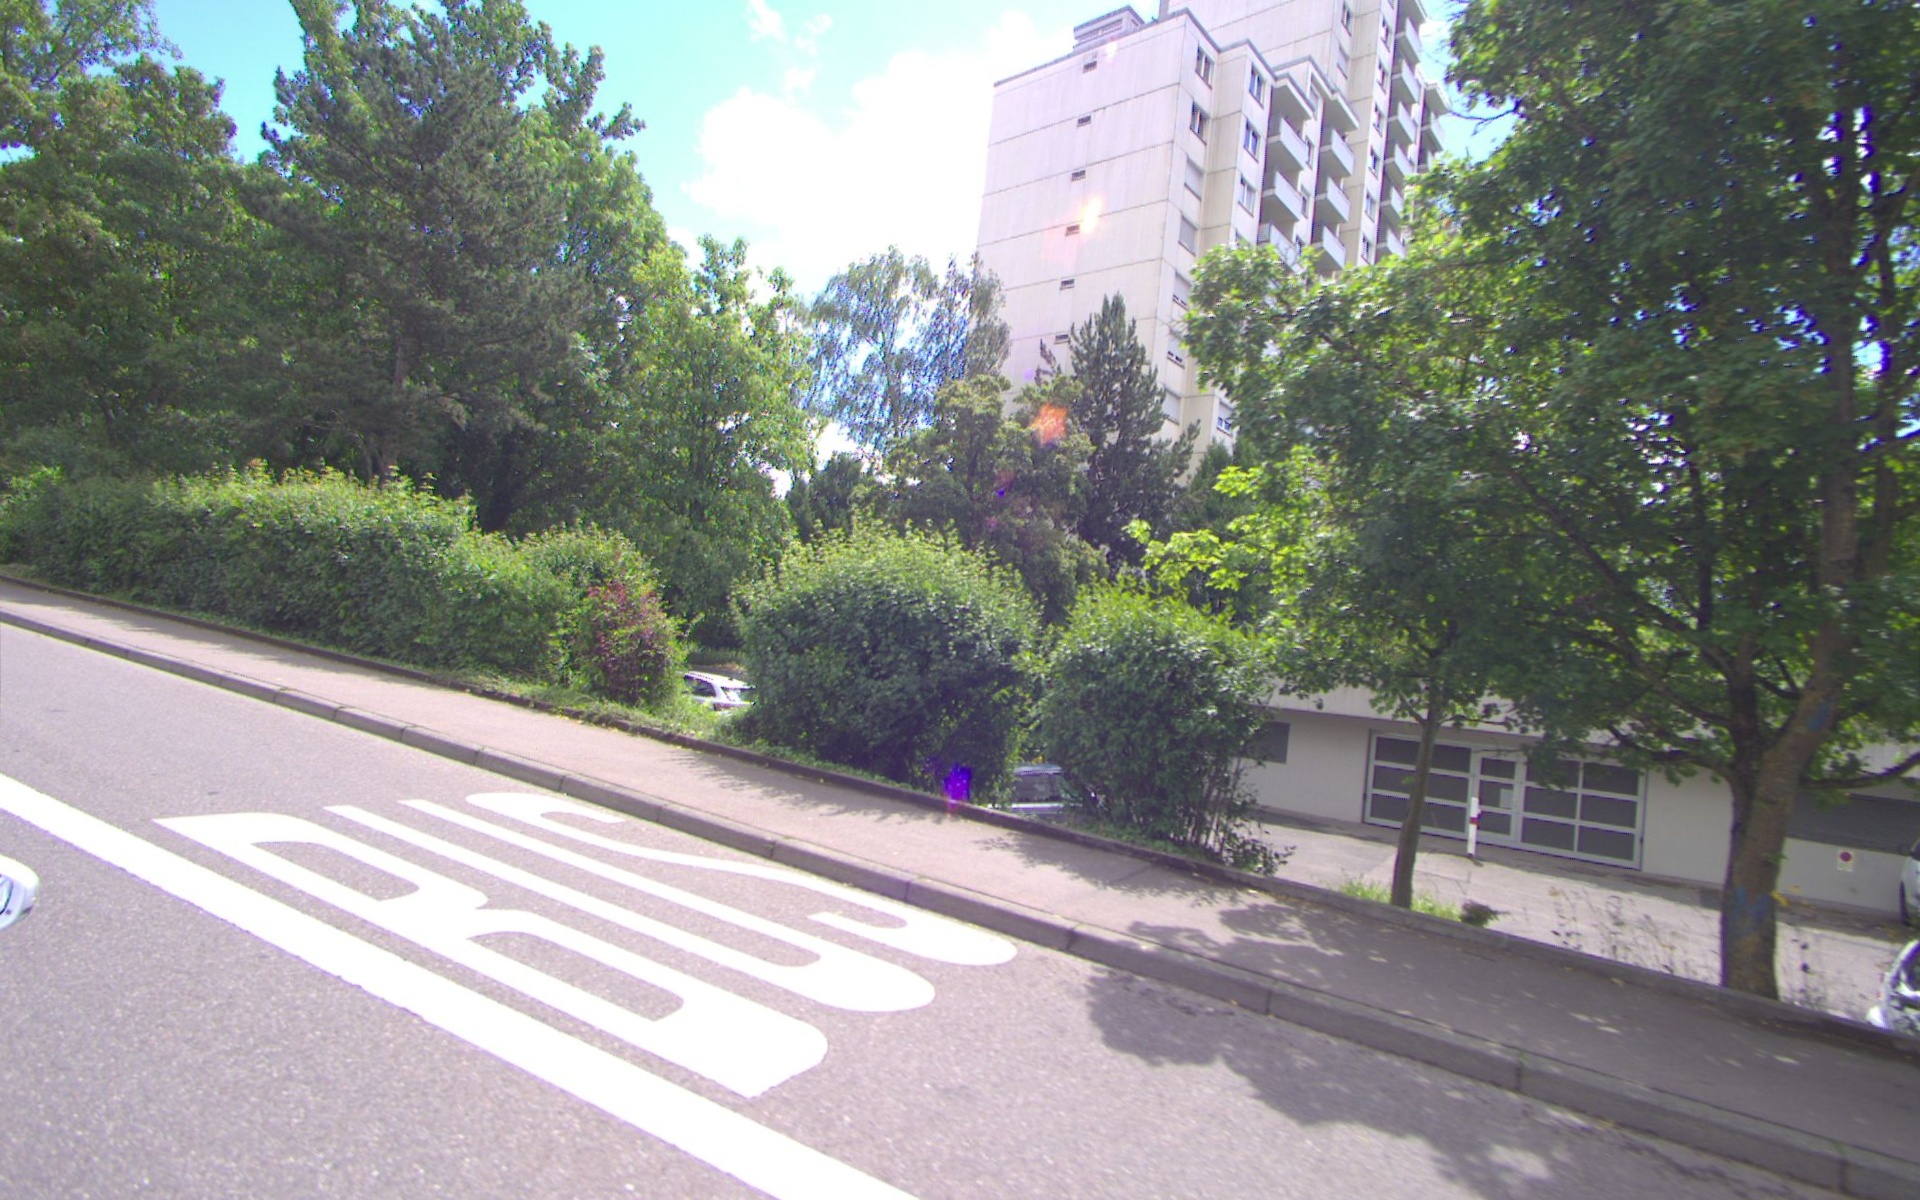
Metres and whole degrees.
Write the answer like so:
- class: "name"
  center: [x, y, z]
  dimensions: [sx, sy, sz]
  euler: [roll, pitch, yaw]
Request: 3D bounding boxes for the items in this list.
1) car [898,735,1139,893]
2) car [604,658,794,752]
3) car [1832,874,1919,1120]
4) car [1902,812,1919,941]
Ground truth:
- class: "car"
  center: [0.865, 2.613, 12.953]
  dimensions: [1.547, 1.507, 3.262]
  euler: [7, -2, 33]
- class: "car"
  center: [-5.977, 2.360, 22.969]
  dimensions: [3.934, 1.486, 1.873]
  euler: [7, -2, 32]
- class: "car"
  center: [8.545, 3.327, 8.083]
  dimensions: [1.695, 1.486, 2.963]
  euler: [6, -3, 31]
- class: "car"
  center: [15.708, 4.451, 15.008]
  dimensions: [1.764, 1.914, 3.988]
  euler: [4, -2, 35]
